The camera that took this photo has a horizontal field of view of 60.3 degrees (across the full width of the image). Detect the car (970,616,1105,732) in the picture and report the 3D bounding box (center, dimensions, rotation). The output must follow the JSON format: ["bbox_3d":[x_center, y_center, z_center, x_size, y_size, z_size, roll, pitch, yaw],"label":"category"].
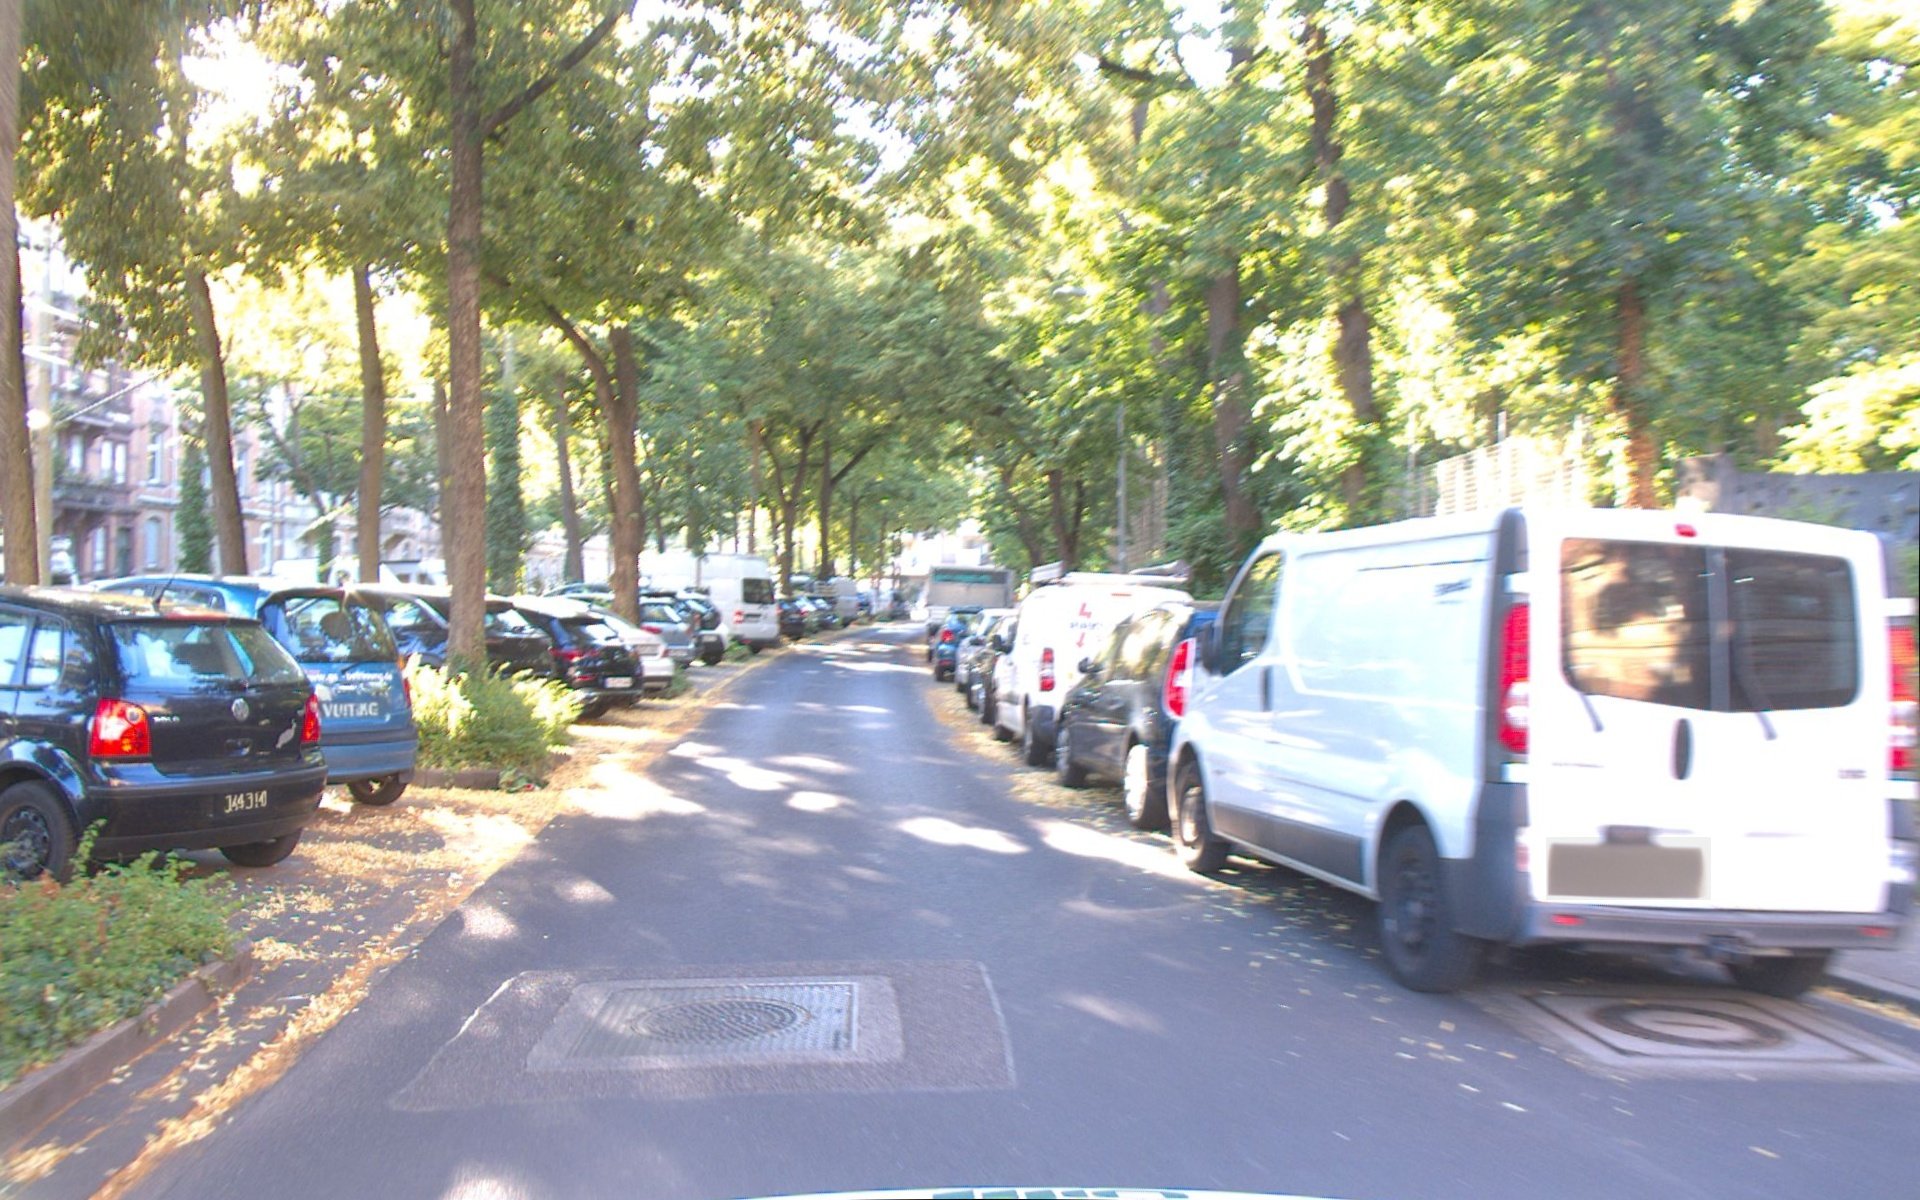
[{"bbox_3d":[0.992,0.956,22.671,1.539,1.410,3.599,1,0,-2],"label":"car"}]

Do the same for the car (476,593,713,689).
[{"bbox_3d":[-6.599,0.727,29.946,3.738,1.446,1.738,4,-1,18],"label":"car"}]

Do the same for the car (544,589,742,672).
[{"bbox_3d":[-6.825,0.654,35.708,3.738,1.507,1.738,4,-1,18],"label":"car"}]

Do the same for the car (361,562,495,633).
[{"bbox_3d":[-22.234,-0.102,69.121,5.149,2.616,2.271,-3,0,27],"label":"car"}]

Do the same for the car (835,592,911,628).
[{"bbox_3d":[-5.097,0.577,96.370,4.003,1.820,1.816,3,-1,30],"label":"car"}]

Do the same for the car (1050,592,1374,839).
[{"bbox_3d":[1.830,0.787,13.113,1.542,1.666,3.705,1,0,-8],"label":"car"}]

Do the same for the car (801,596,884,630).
[{"bbox_3d":[-6.265,0.679,87.934,4.003,1.499,1.816,3,-1,30],"label":"car"}]

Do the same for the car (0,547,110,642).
[{"bbox_3d":[-30.316,-0.187,53.714,2.499,2.938,5.482,0,0,1],"label":"car"}]

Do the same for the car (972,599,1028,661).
[{"bbox_3d":[1.139,0.831,47.605,1.539,1.677,3.601,1,0,1],"label":"car"}]

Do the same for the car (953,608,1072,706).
[{"bbox_3d":[0.816,0.901,27.507,1.540,1.493,3.596,1,0,-5],"label":"car"}]

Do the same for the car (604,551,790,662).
[{"bbox_3d":[-6.736,0.153,42.228,4.402,2.519,1.816,3,-1,30],"label":"car"}]

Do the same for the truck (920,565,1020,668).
[{"bbox_3d":[0.207,0.394,40.937,2.318,2.393,4.382,1,0,-1],"label":"truck"}]

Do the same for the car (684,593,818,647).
[{"bbox_3d":[-6.837,0.657,54.135,4.003,1.499,1.816,3,-1,30],"label":"car"}]

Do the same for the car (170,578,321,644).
[{"bbox_3d":[-21.272,0.328,49.199,4.145,1.728,1.856,-3,0,27],"label":"car"}]

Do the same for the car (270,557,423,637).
[{"bbox_3d":[-22.425,-0.114,60.407,5.149,2.616,2.271,-3,0,27],"label":"car"}]

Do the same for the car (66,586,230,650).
[{"bbox_3d":[-22.206,0.493,45.204,4.145,1.498,1.856,-3,0,27],"label":"car"}]

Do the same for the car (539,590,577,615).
[{"bbox_3d":[-30.300,0.184,124.667,1.675,1.852,4.002,0,0,3],"label":"car"}]

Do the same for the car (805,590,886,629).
[{"bbox_3d":[-6.295,0.514,90.820,4.003,1.820,1.816,3,-1,30],"label":"car"}]

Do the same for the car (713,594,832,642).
[{"bbox_3d":[-6.912,0.652,61.024,4.003,1.499,1.816,3,-1,30],"label":"car"}]

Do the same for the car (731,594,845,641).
[{"bbox_3d":[-6.623,0.666,63.695,4.003,1.499,1.816,3,-1,30],"label":"car"}]

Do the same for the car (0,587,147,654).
[{"bbox_3d":[-23.076,0.535,42.418,4.145,1.498,1.856,-3,0,27],"label":"car"}]

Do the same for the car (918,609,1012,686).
[{"bbox_3d":[0.048,0.911,33.064,1.540,1.409,3.596,1,0,-5],"label":"car"}]

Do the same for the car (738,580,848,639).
[{"bbox_3d":[-6.685,0.374,66.130,4.003,2.075,1.816,3,-1,30],"label":"car"}]

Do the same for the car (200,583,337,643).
[{"bbox_3d":[-22.739,0.431,54.396,4.145,1.728,1.856,-3,0,27],"label":"car"}]

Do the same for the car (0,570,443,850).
[{"bbox_3d":[-5.671,0.674,11.770,3.534,1.589,1.607,4,1,22],"label":"car"}]

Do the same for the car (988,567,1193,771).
[{"bbox_3d":[1.282,0.657,17.728,1.541,1.937,3.898,1,0,-5],"label":"car"}]

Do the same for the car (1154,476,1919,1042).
[{"bbox_3d":[2.565,0.575,8.422,1.908,2.038,4.649,1,0,-10],"label":"car"}]

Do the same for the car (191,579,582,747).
[{"bbox_3d":[-6.349,0.668,18.389,3.738,1.523,1.738,4,-1,18],"label":"car"}]

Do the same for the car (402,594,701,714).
[{"bbox_3d":[-5.838,0.755,23.719,3.738,1.415,1.738,4,-1,18],"label":"car"}]

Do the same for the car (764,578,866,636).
[{"bbox_3d":[-6.364,0.302,72.449,4.003,2.248,1.816,3,-1,30],"label":"car"}]

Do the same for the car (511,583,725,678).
[{"bbox_3d":[-6.834,0.604,33.112,3.738,1.615,1.738,3,-1,18],"label":"car"}]

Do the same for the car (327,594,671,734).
[{"bbox_3d":[-5.742,0.773,20.694,3.738,1.415,1.738,4,-1,18],"label":"car"}]

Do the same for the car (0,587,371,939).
[{"bbox_3d":[-5.184,0.714,8.958,3.534,1.472,1.607,4,1,22],"label":"car"}]
